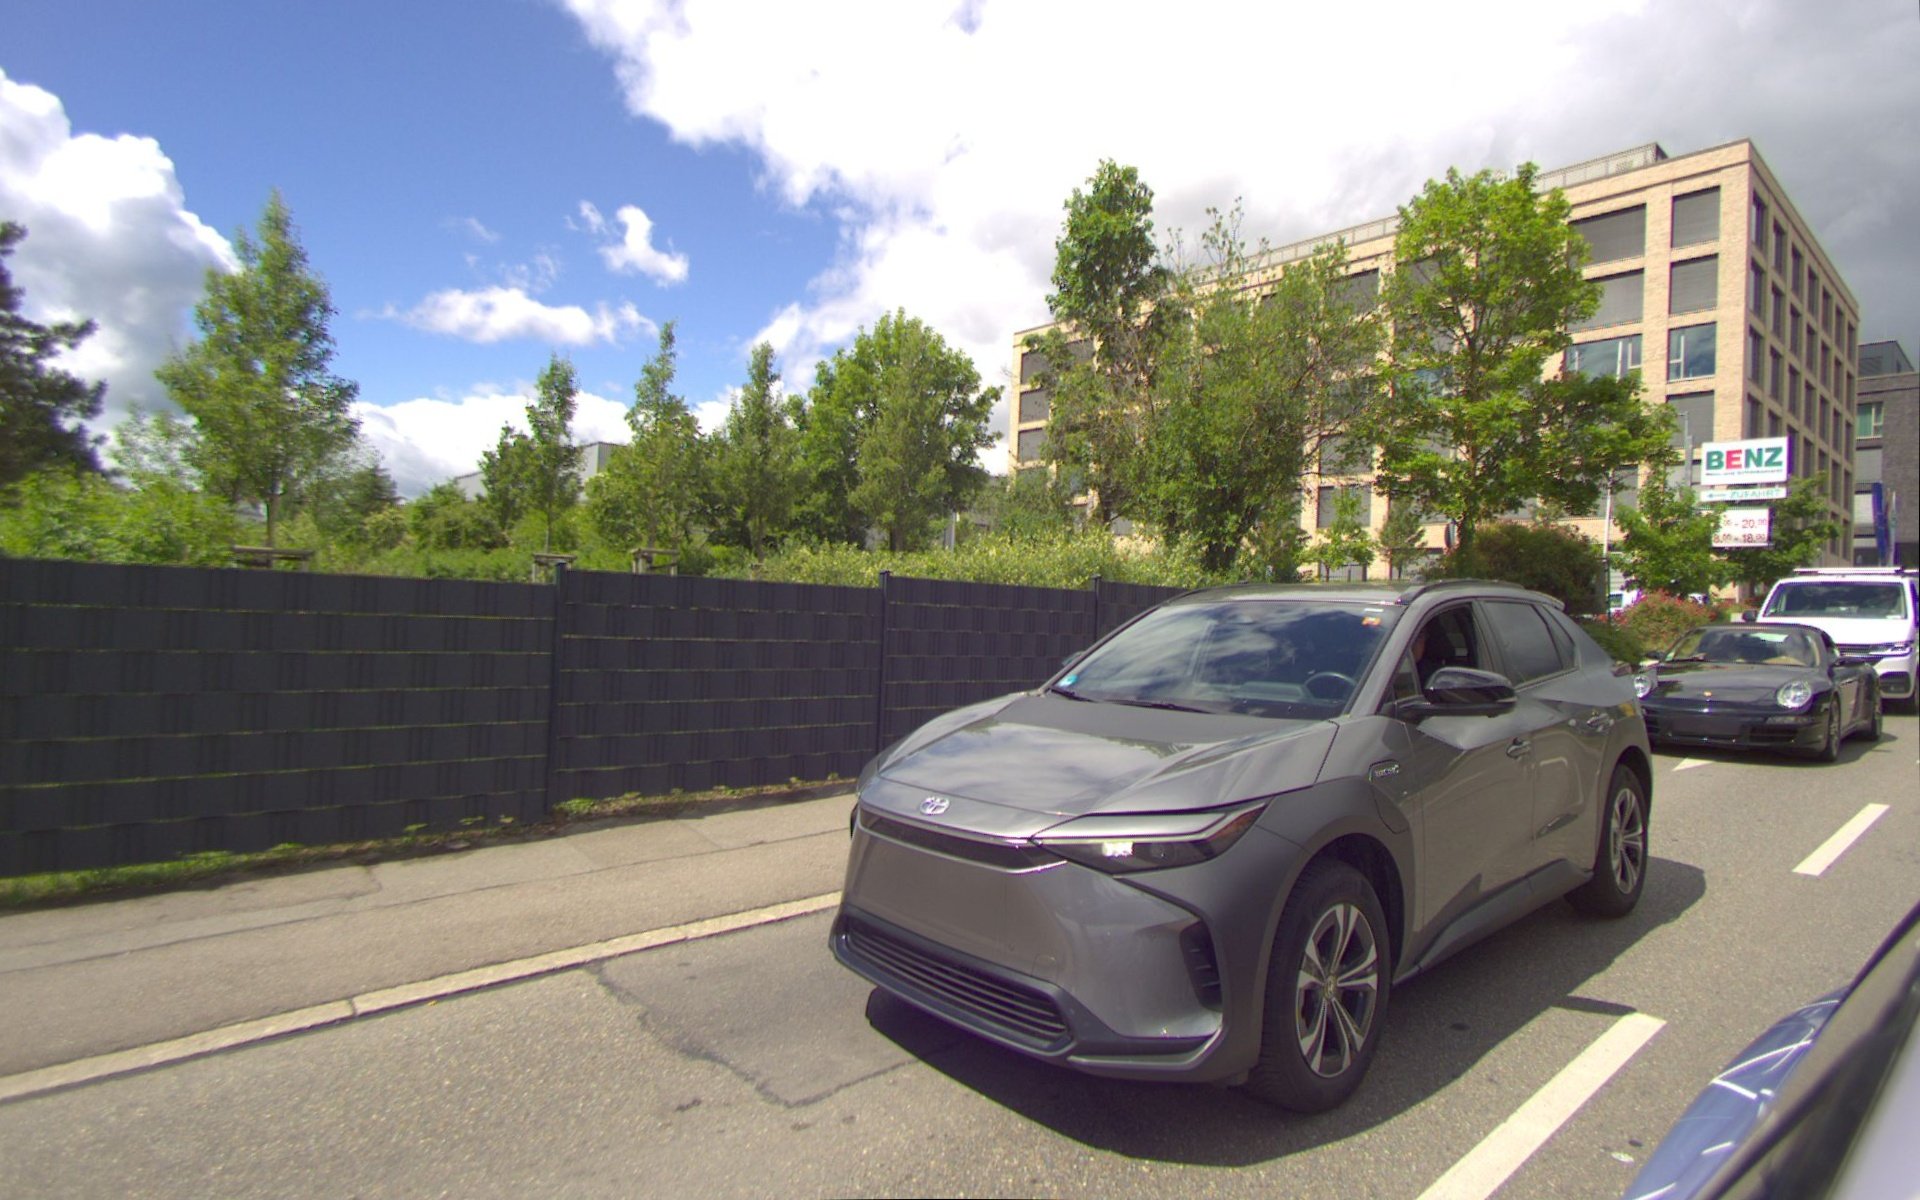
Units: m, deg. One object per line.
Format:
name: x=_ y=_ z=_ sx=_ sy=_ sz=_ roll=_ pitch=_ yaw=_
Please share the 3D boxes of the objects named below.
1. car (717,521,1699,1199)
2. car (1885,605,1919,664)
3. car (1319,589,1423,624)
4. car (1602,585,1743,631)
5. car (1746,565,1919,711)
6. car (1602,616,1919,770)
car: x=1.469 y=0.661 z=4.470 sx=4.601 sy=1.634 sz=1.922 roll=0 pitch=-1 yaw=-41
car: x=23.667 y=0.809 z=24.122 sx=4.487 sy=1.290 sz=1.777 roll=0 pitch=1 yaw=-40
car: x=19.385 y=0.281 z=47.838 sx=1.705 sy=1.436 sz=4.215 roll=1 pitch=1 yaw=-41
car: x=27.523 y=0.258 z=39.198 sx=1.707 sy=1.596 sz=4.211 roll=1 pitch=1 yaw=-44
car: x=13.491 y=0.504 z=15.070 sx=4.563 sy=1.874 sz=1.962 roll=0 pitch=-1 yaw=-41
car: x=8.657 y=0.830 z=10.801 sx=4.487 sy=1.290 sz=1.776 roll=0 pitch=-1 yaw=-40
